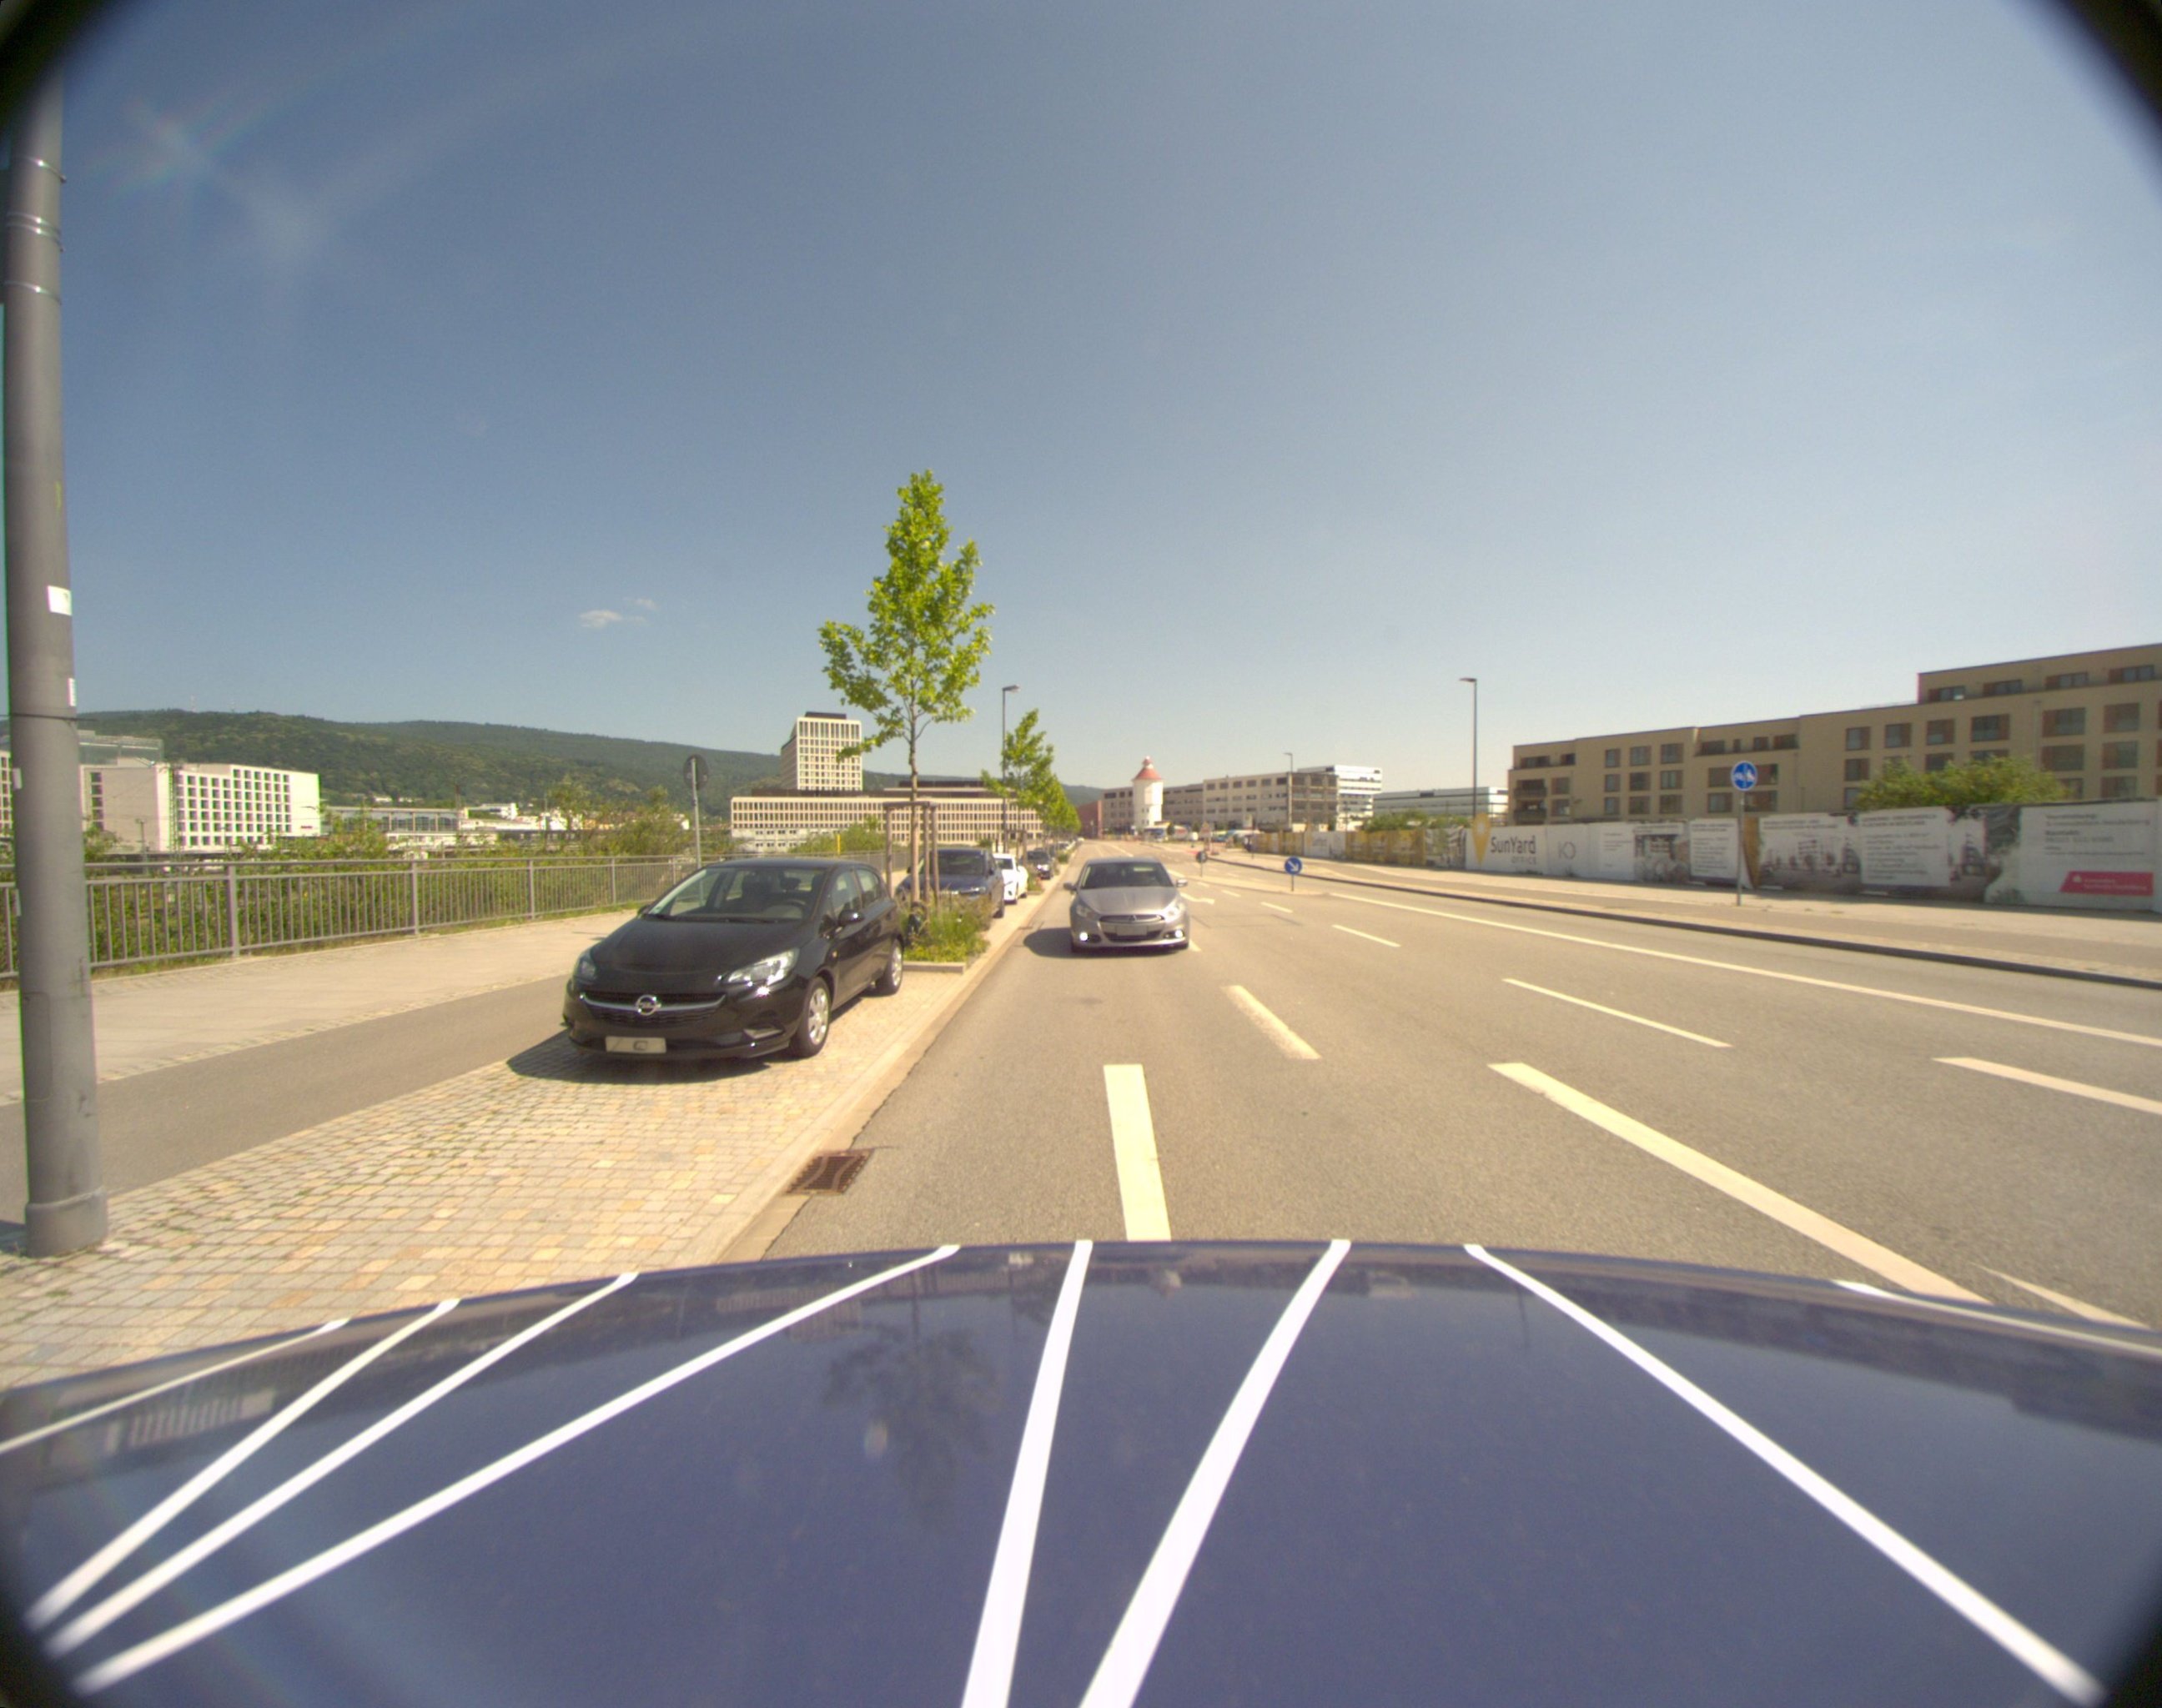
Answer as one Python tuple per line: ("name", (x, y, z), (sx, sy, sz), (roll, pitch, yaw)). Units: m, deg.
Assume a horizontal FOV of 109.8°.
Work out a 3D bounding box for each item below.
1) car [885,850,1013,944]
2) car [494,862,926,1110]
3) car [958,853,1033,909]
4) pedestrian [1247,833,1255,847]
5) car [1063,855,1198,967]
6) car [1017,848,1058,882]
("car", (-2.593, 0.766, 15.922), (1.769, 1.598, 4.237), (-2, 1, 2))
("car", (-2.735, 0.858, 6.748), (1.664, 1.418, 4.000), (-1, 1, 3))
("car", (-2.509, 0.749, 23.081), (1.664, 1.447, 3.999), (-2, 1, 2))
("pedestrian", (19.504, -1.600, 87.219), (0.705, 1.577, 0.617), (-3, 2, -35))
("car", (0.734, 0.786, 12.437), (1.784, 1.372, 4.135), (-2, 1, 2))
("car", (-2.168, 0.502, 38.621), (1.664, 1.530, 3.999), (-2, 1, 2))
